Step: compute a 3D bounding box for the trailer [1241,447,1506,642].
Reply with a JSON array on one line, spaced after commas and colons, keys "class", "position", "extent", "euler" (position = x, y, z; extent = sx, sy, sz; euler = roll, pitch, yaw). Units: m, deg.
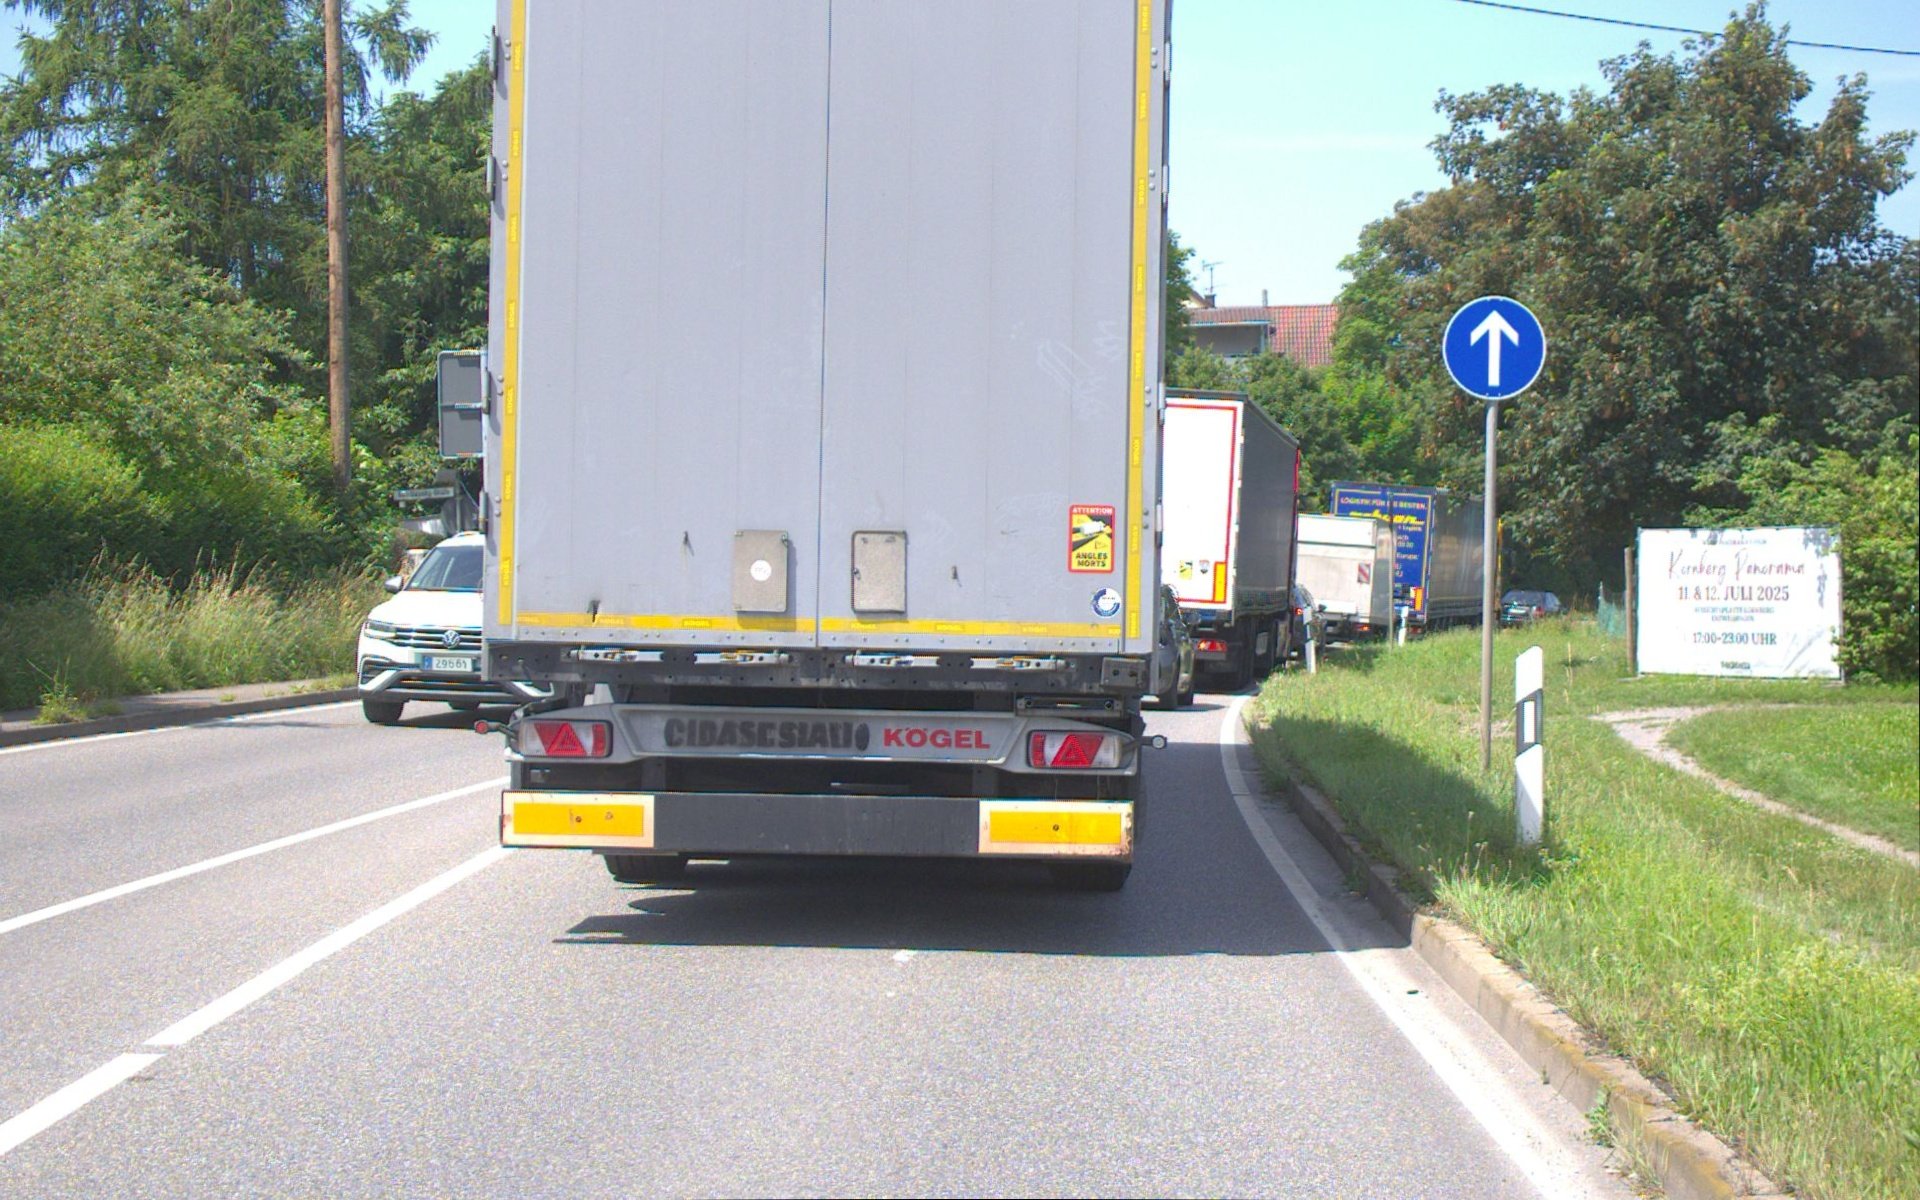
[{"class": "trailer", "position": [11.217, -1.494, 90.924], "extent": [5.182, 4.612, 15.886], "euler": [1, 1, 13]}]

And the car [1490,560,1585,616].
[{"class": "car", "position": [18.219, -0.406, 108.314], "extent": [1.996, 1.678, 3.995], "euler": [1, 1, 24]}]

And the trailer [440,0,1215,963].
[{"class": "trailer", "position": [-0.142, -0.919, 18.622], "extent": [2.787, 4.191, 12.110], "euler": [1, 1, 3]}]

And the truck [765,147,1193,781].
[{"class": "truck", "position": [0.324, -0.968, 25.807], "extent": [2.746, 4.151, 6.142], "euler": [1, 1, 4]}]

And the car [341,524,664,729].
[{"class": "car", "position": [-3.970, 0.172, 30.547], "extent": [1.846, 1.649, 4.403], "euler": [1, 1, 6]}]

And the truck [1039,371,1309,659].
[{"class": "truck", "position": [3.771, -1.400, 58.533], "extent": [3.938, 4.559, 7.149], "euler": [1, 1, 8]}]

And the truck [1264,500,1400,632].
[{"class": "truck", "position": [8.408, -0.790, 77.245], "extent": [2.422, 2.828, 5.409], "euler": [1, 1, 12]}]

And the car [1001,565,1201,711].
[{"class": "car", "position": [1.688, 0.394, 39.789], "extent": [1.994, 1.525, 3.999], "euler": [1, 1, 7]}]

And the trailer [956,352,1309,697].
[{"class": "trailer", "position": [2.897, -1.068, 51.605], "extent": [3.892, 4.505, 12.708], "euler": [1, 1, 9]}]

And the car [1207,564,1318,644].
[{"class": "car", "position": [6.034, 0.052, 68.177], "extent": [1.842, 1.481, 3.999], "euler": [1, 1, 10]}]
